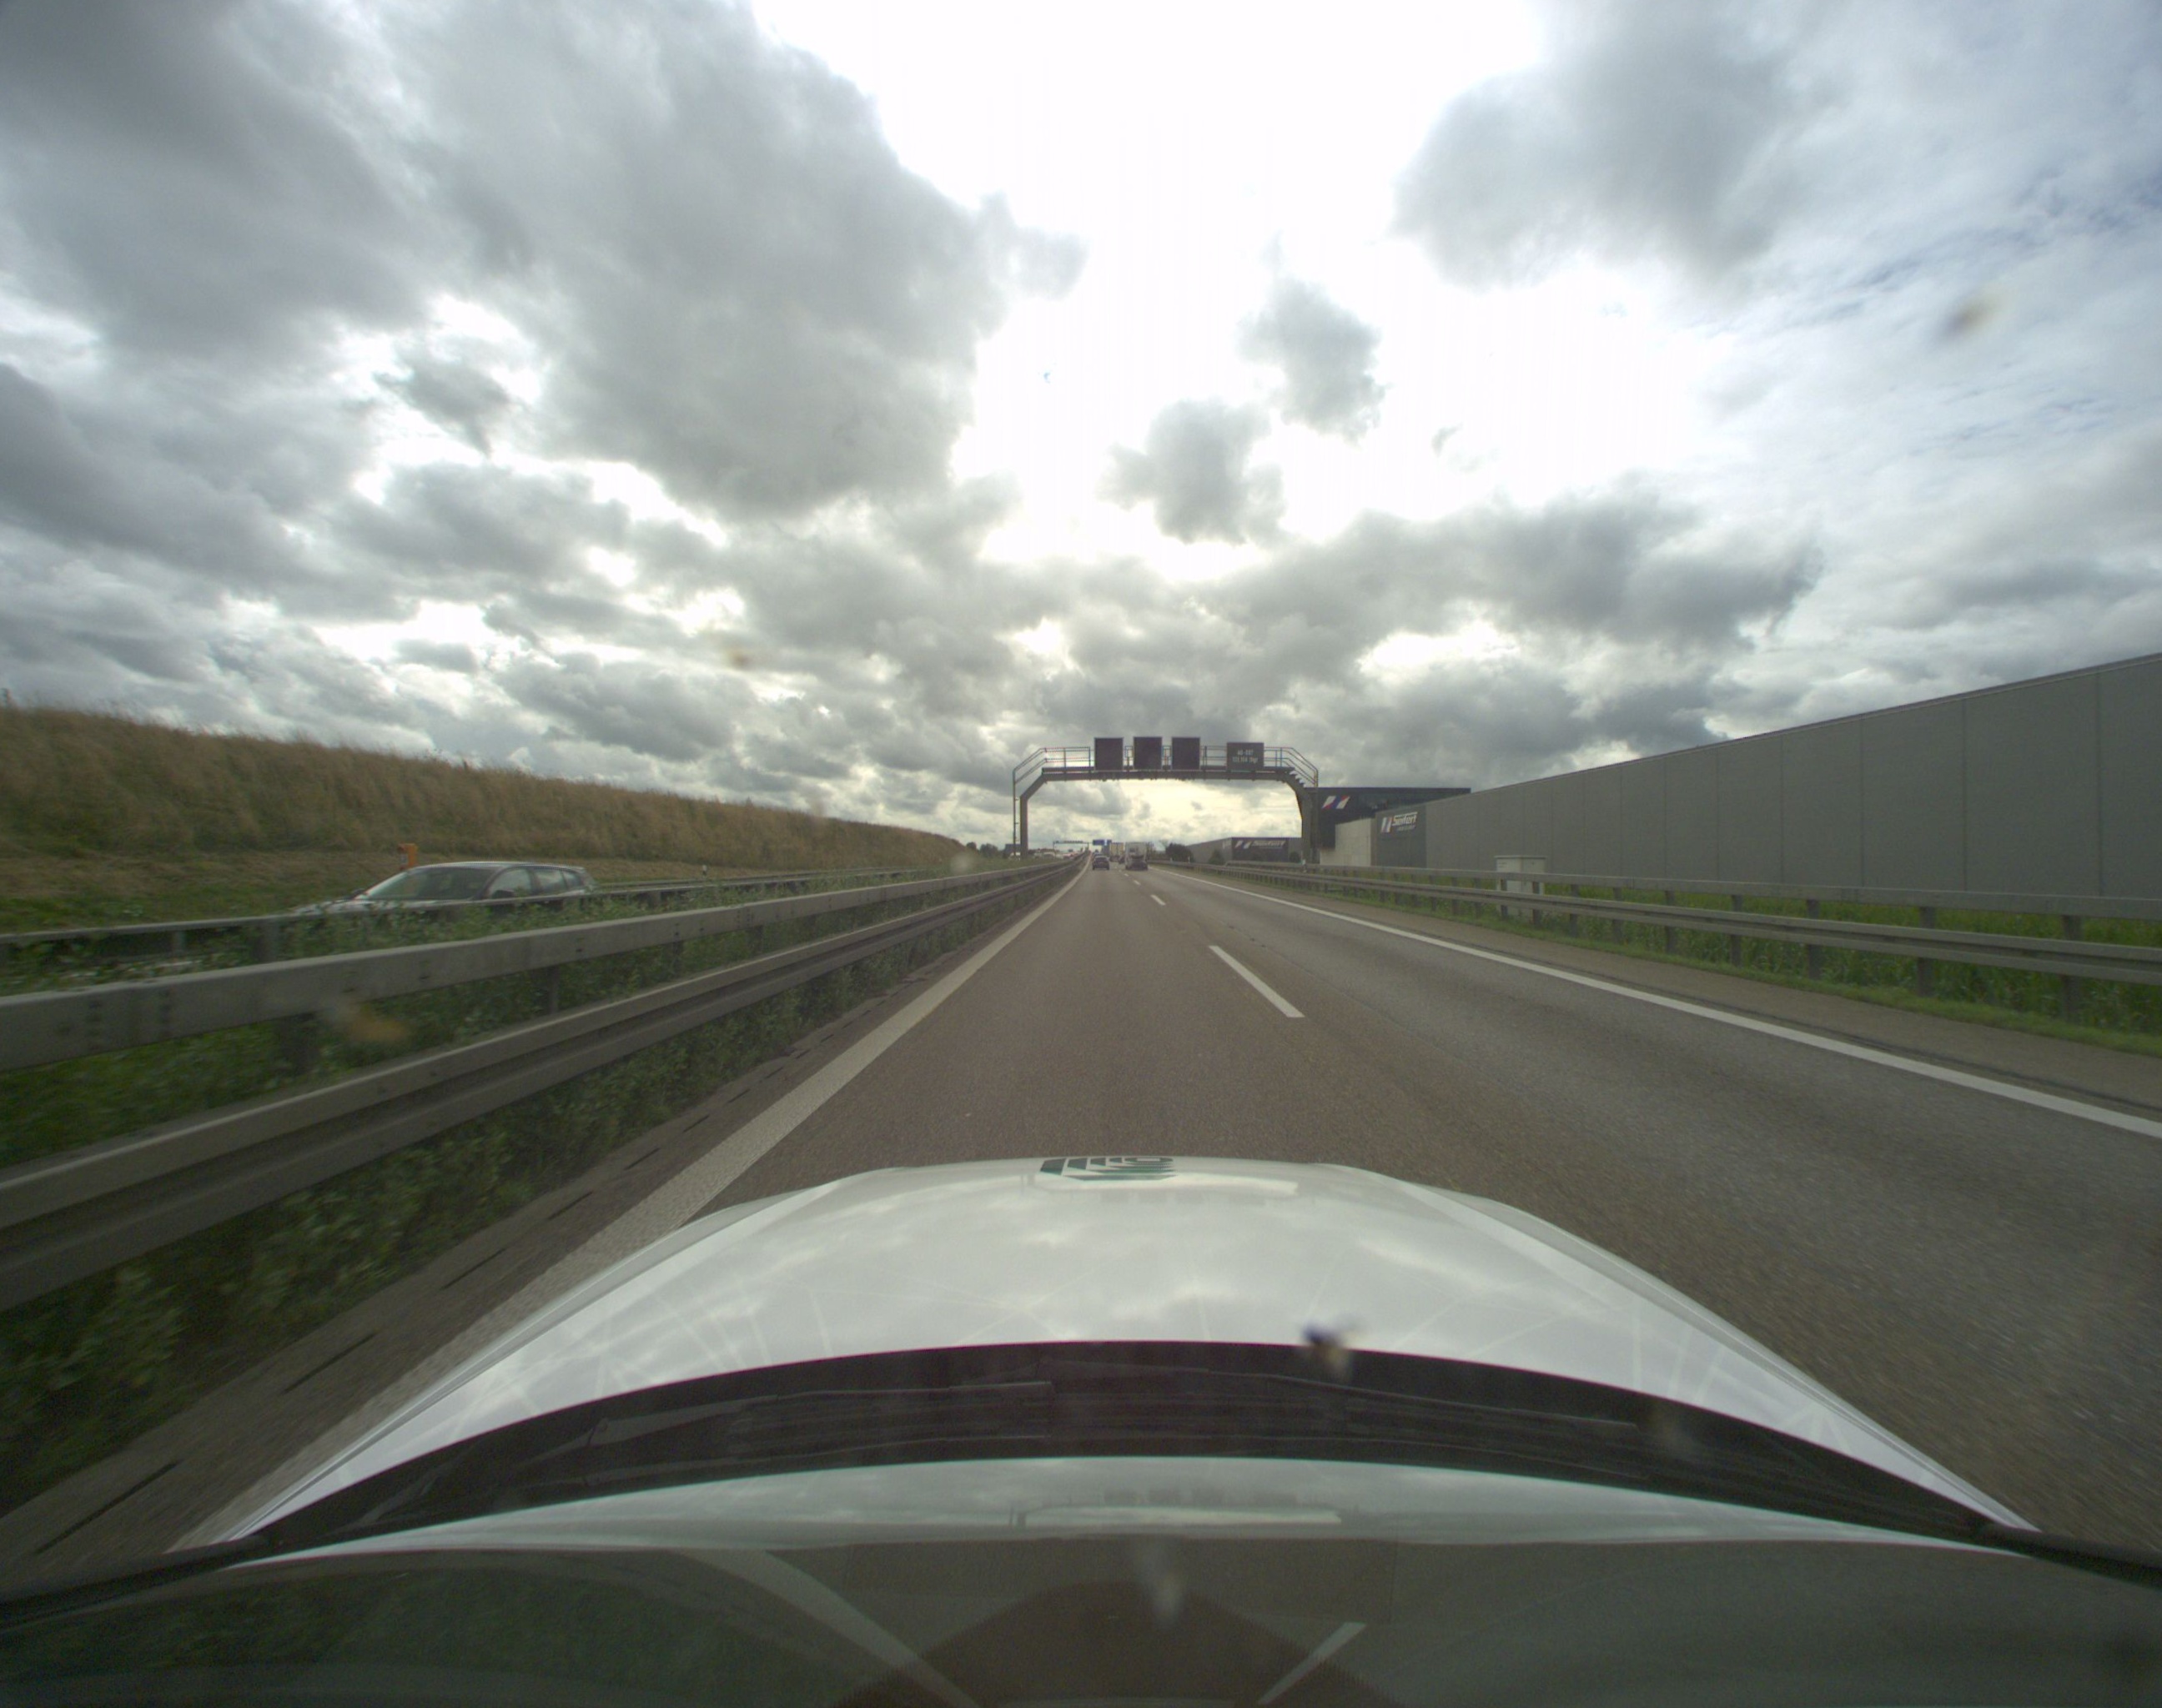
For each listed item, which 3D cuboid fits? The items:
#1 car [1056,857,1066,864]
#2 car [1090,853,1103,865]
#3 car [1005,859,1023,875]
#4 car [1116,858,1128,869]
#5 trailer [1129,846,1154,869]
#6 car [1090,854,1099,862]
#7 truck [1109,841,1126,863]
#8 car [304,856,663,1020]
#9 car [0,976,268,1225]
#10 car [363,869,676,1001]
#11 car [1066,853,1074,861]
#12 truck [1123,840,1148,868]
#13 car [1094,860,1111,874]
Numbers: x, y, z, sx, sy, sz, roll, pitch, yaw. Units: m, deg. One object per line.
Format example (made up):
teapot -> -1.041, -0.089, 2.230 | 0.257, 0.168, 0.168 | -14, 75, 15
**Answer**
car -> -4.111, 1.424, 166.671 | 1.805, 1.402, 4.407 | 0, -1, 1
car -> 2.368, 0.795, 123.728 | 1.937, 1.685, 4.003 | 0, -1, 3
car -> -8.937, 1.684, 108.948 | 1.986, 2.013, 4.709 | -1, 0, 2
car -> 6.565, 1.483, 129.783 | 1.793, 1.685, 4.003 | 0, -1, 3
trailer -> 5.937, 0.359, 80.397 | 2.328, 2.136, 4.003 | 0, -1, 3
car -> 3.266, 0.971, 195.627 | 1.935, 1.775, 3.699 | 0, -1, 3
truck -> 7.775, -0.434, 173.726 | 3.327, 4.534, 8.019 | 0, -1, 1
car -> -7.732, 0.966, 11.142 | 1.850, 1.830, 4.001 | 0, -1, 2
car -> -10.073, 2.256, 7.154 | 1.730, 1.816, 4.001 | 0, -1, 2
car -> -7.875, 1.027, 11.982 | 1.730, 1.590, 4.001 | 0, -1, 2
car -> -2.719, 0.697, 206.308 | 1.821, 1.885, 5.420 | 0, -1, 2
truck -> 5.827, 0.038, 87.546 | 2.473, 2.950, 5.816 | 0, -1, 2
car -> 2.301, 1.349, 86.395 | 1.739, 1.453, 4.004 | 0, -1, 4
